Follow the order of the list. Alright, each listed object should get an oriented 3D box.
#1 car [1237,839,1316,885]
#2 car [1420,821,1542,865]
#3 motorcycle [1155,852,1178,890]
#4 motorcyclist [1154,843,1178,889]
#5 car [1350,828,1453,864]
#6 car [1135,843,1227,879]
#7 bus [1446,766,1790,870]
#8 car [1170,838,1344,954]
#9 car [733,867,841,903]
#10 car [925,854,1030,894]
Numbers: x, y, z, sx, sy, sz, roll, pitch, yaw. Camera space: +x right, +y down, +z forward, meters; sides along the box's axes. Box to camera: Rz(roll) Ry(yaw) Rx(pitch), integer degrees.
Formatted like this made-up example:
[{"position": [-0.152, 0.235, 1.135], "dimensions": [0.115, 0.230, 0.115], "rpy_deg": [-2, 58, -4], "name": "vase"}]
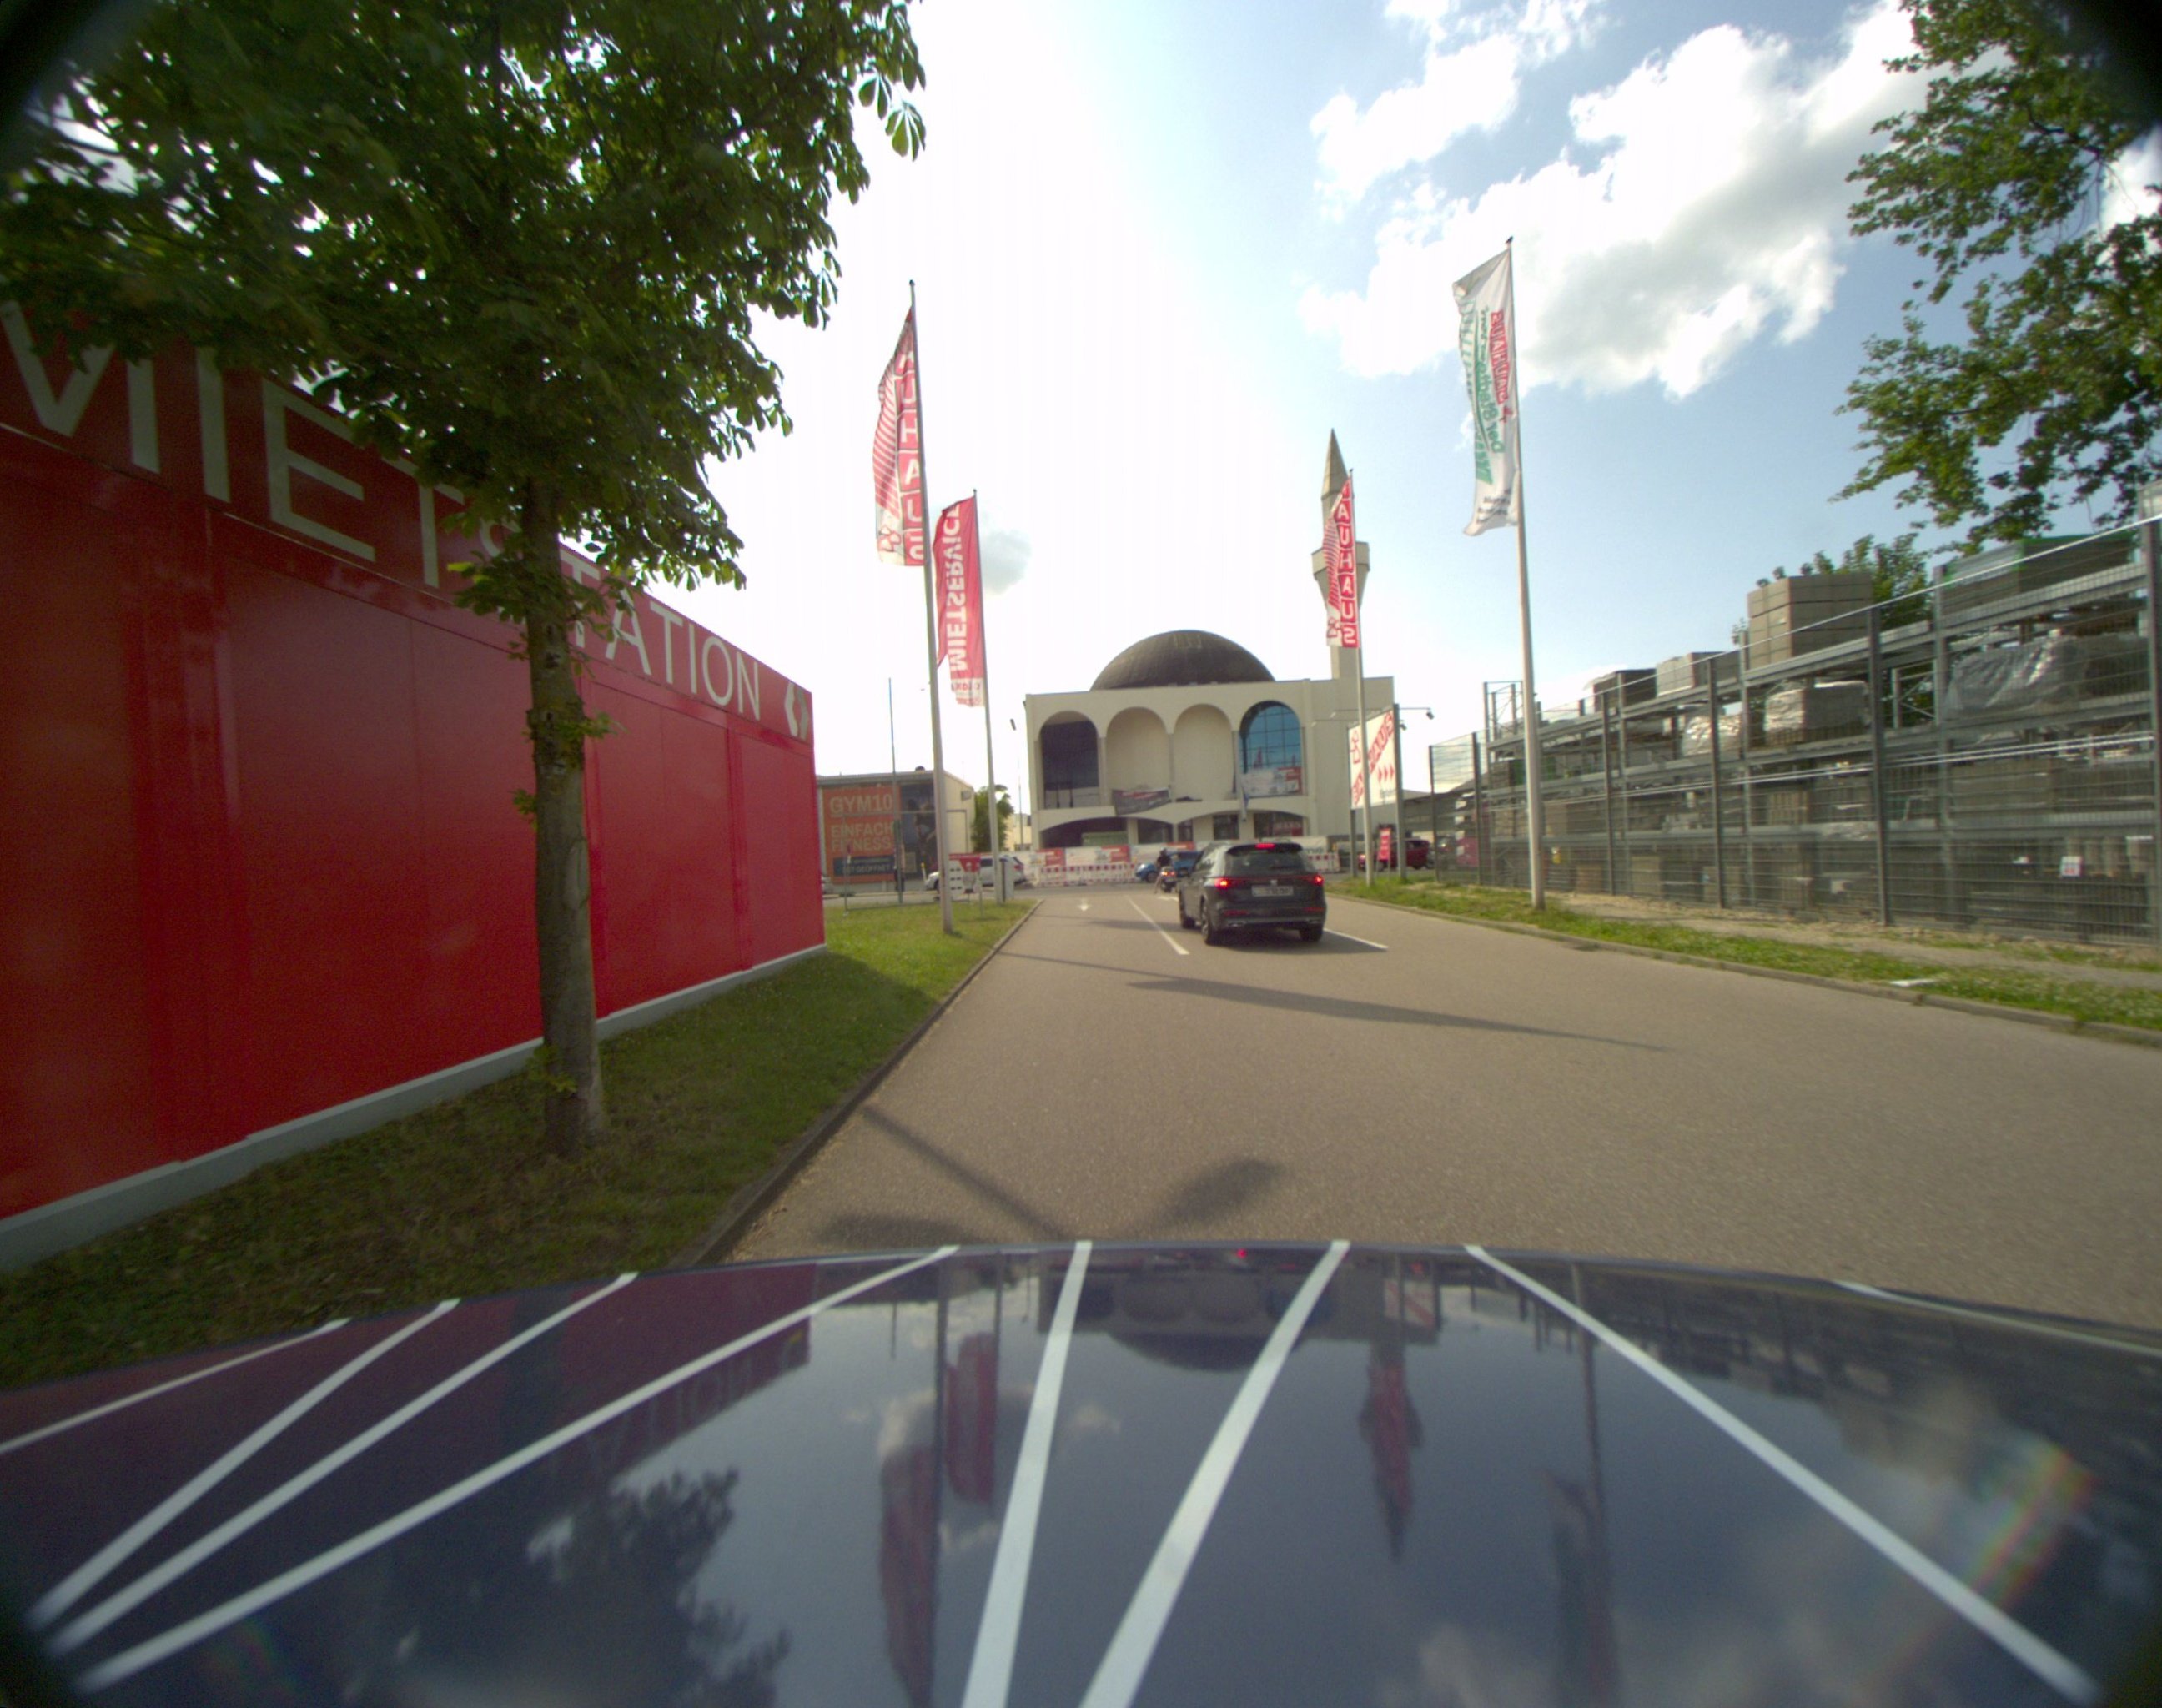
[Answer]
[{"position": [7.798, 0.277, 30.009], "dimensions": [1.719, 1.555, 4.217], "rpy_deg": [-3, 1, 33], "name": "car"}, {"position": [17.659, -0.446, 33.683], "dimensions": [4.381, 1.656, 1.771], "rpy_deg": [-3, -1, 4], "name": "car"}, {"position": [3.147, 0.593, 28.140], "dimensions": [0.671, 1.298, 2.213], "rpy_deg": [-3, 1, 4], "name": "motorcycle"}, {"position": [3.133, 0.440, 28.063], "dimensions": [0.788, 1.619, 0.686], "rpy_deg": [-3, 1, 4], "name": "motorcyclist"}, {"position": [15.512, -0.403, 36.913], "dimensions": [4.190, 1.501, 1.792], "rpy_deg": [-3, 1, 2], "name": "car"}, {"position": [4.811, 0.310, 36.874], "dimensions": [4.193, 1.505, 1.697], "rpy_deg": [-3, 1, 1], "name": "car"}, {"position": [21.273, -1.391, 30.581], "dimensions": [11.559, 3.345, 2.893], "rpy_deg": [-3, 1, 2], "name": "bus"}, {"position": [2.808, 0.606, 13.227], "dimensions": [1.920, 1.608, 4.373], "rpy_deg": [-2, 0, -1], "name": "car"}, {"position": [-14.507, 1.514, 37.665], "dimensions": [4.613, 1.471, 1.771], "rpy_deg": [-3, 0, 3], "name": "car"}, {"position": [-4.989, 0.975, 37.004], "dimensions": [4.836, 1.689, 1.868], "rpy_deg": [-2, 0, -2], "name": "car"}]
